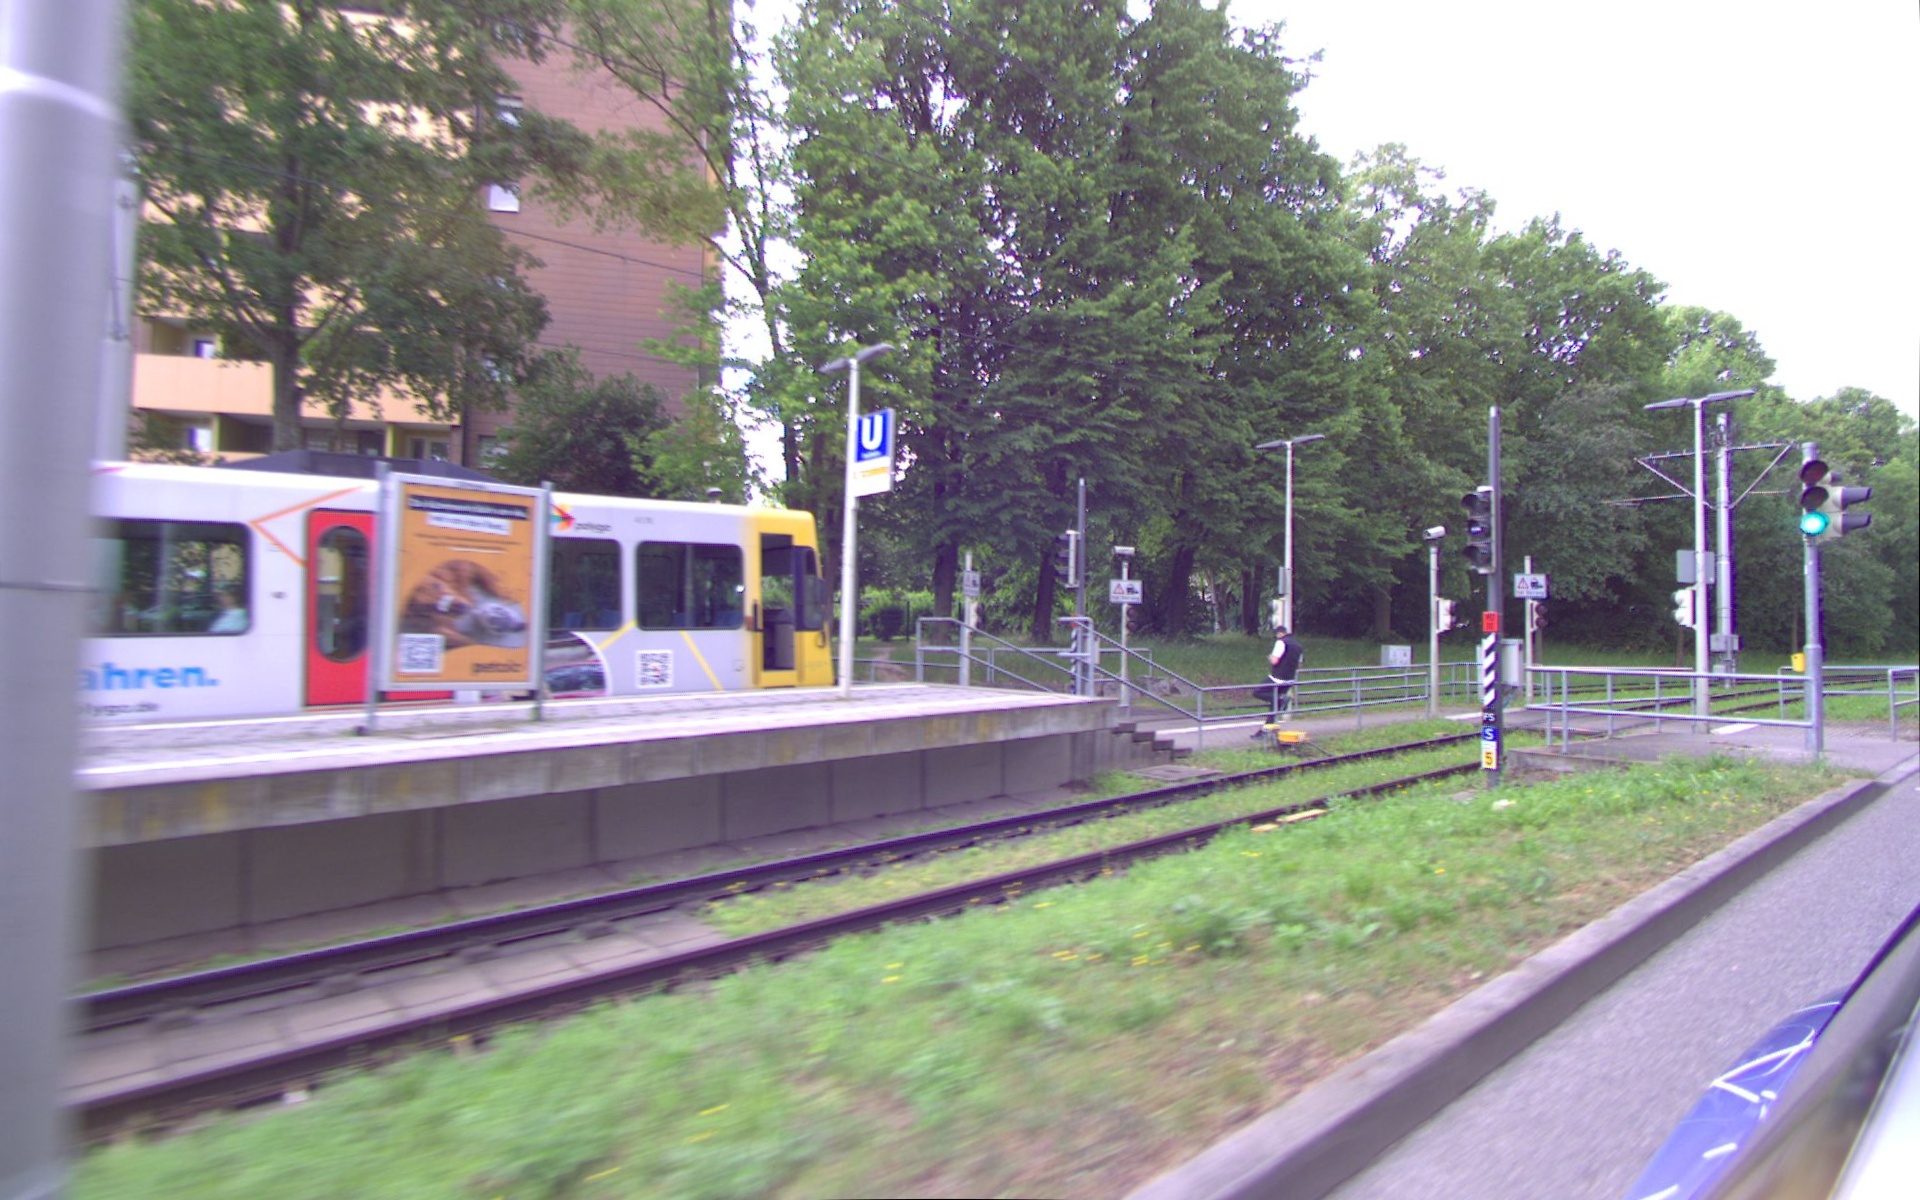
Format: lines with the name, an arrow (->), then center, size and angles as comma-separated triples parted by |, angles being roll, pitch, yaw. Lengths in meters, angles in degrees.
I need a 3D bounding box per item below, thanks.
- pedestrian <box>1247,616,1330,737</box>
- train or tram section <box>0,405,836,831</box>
pedestrian -> 5.033, 1.154, 15.536 | 0.983, 1.781, 0.718 | -3, -4, 42
train or tram section -> -9.764, 0.183, 9.800 | 18.192, 3.785, 2.819 | 0, -2, -38
